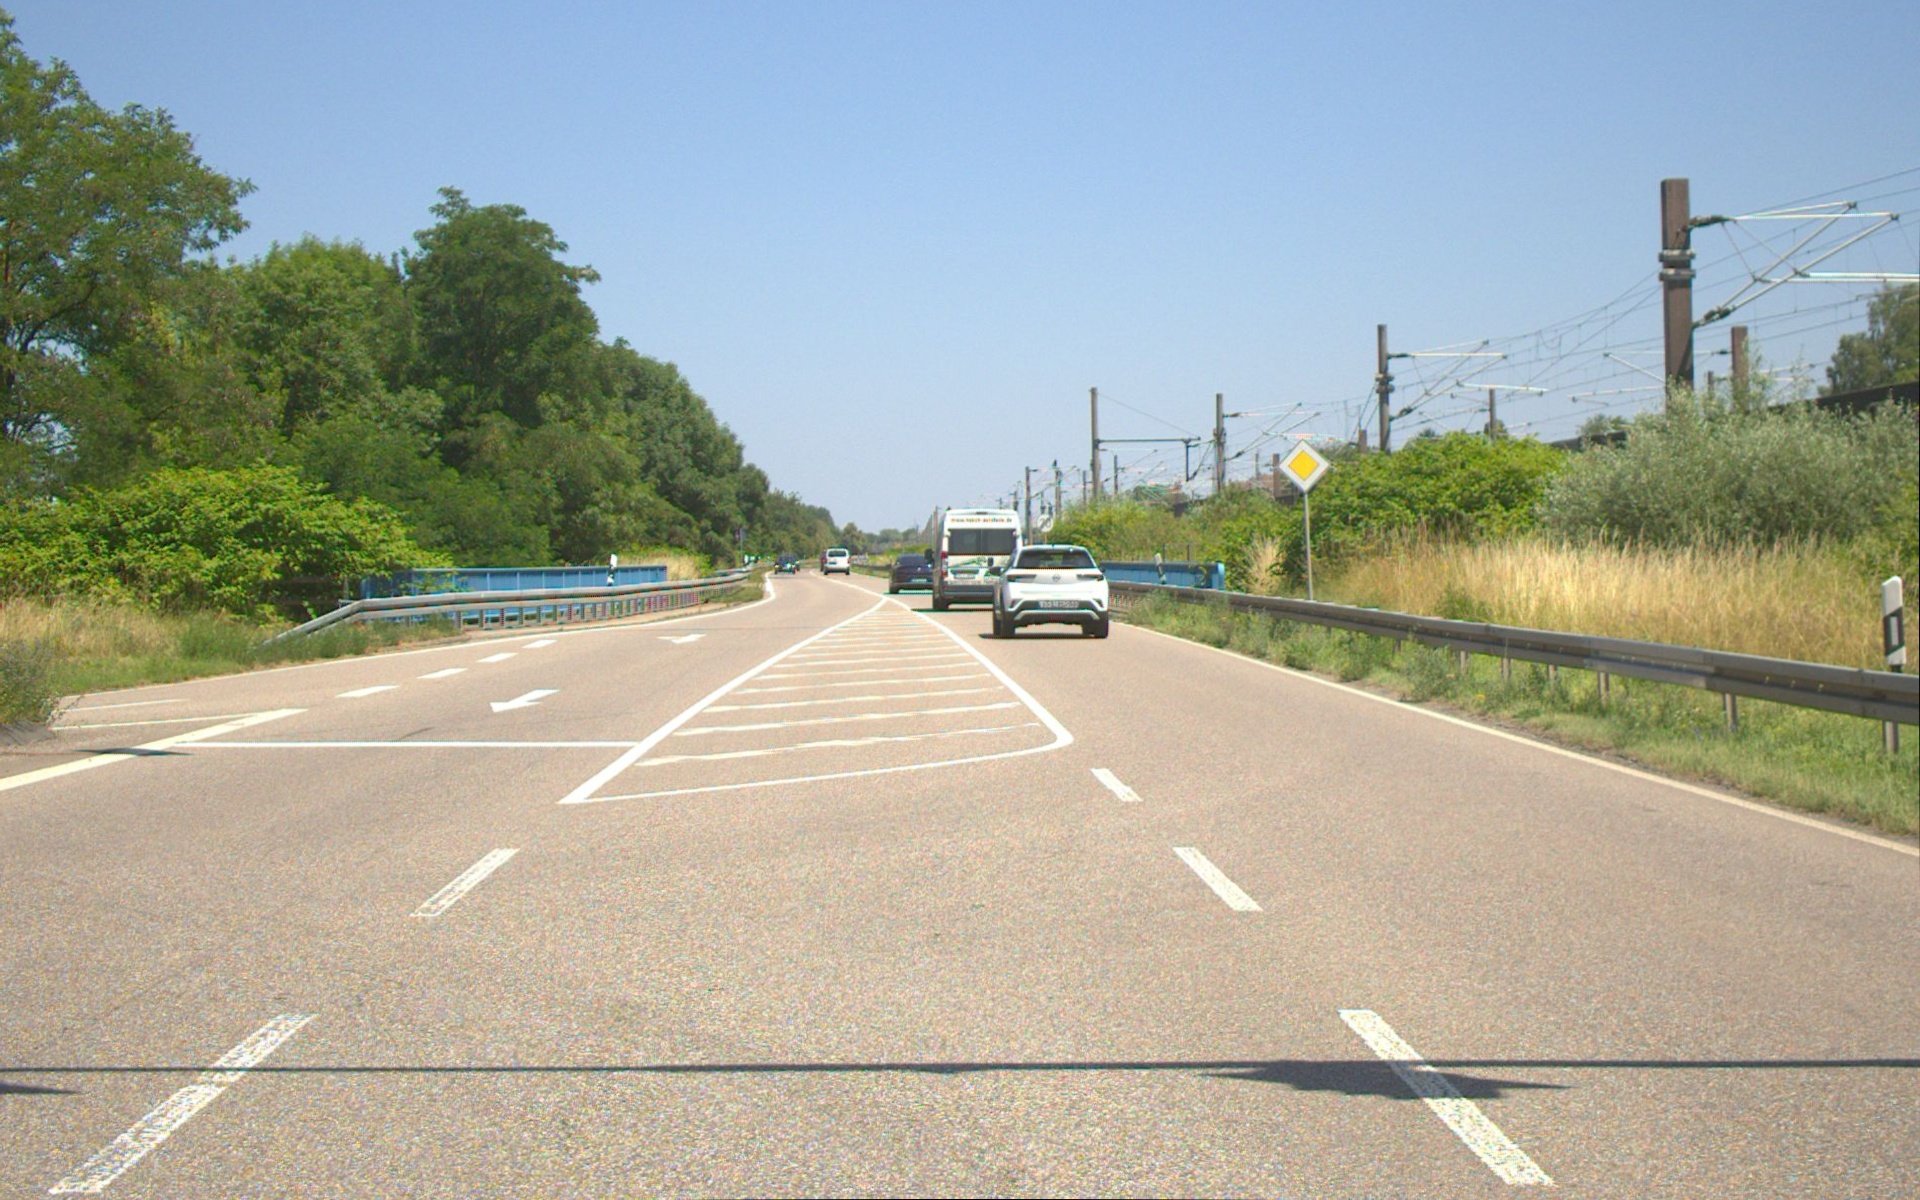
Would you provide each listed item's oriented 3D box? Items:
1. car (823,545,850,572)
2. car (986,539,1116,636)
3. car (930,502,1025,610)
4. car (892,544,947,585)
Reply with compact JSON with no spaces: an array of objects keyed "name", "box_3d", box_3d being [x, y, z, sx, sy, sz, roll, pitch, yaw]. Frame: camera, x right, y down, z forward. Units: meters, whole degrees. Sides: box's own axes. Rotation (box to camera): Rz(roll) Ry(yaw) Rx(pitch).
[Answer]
[{"name":"car","box_3d":[-9.188,-3.122,256.191,1.993,1.977,4.060,1,1,-2]},{"name":"car","box_3d":[1.485,-0.242,57.675,1.817,1.558,4.279,0,1,-3]},{"name":"car","box_3d":[0.394,-1.137,86.934,2.188,2.595,6.751,1,1,-1]},{"name":"car","box_3d":[-1.479,-1.283,123.159,1.856,1.375,4.504,1,1,-2]}]
